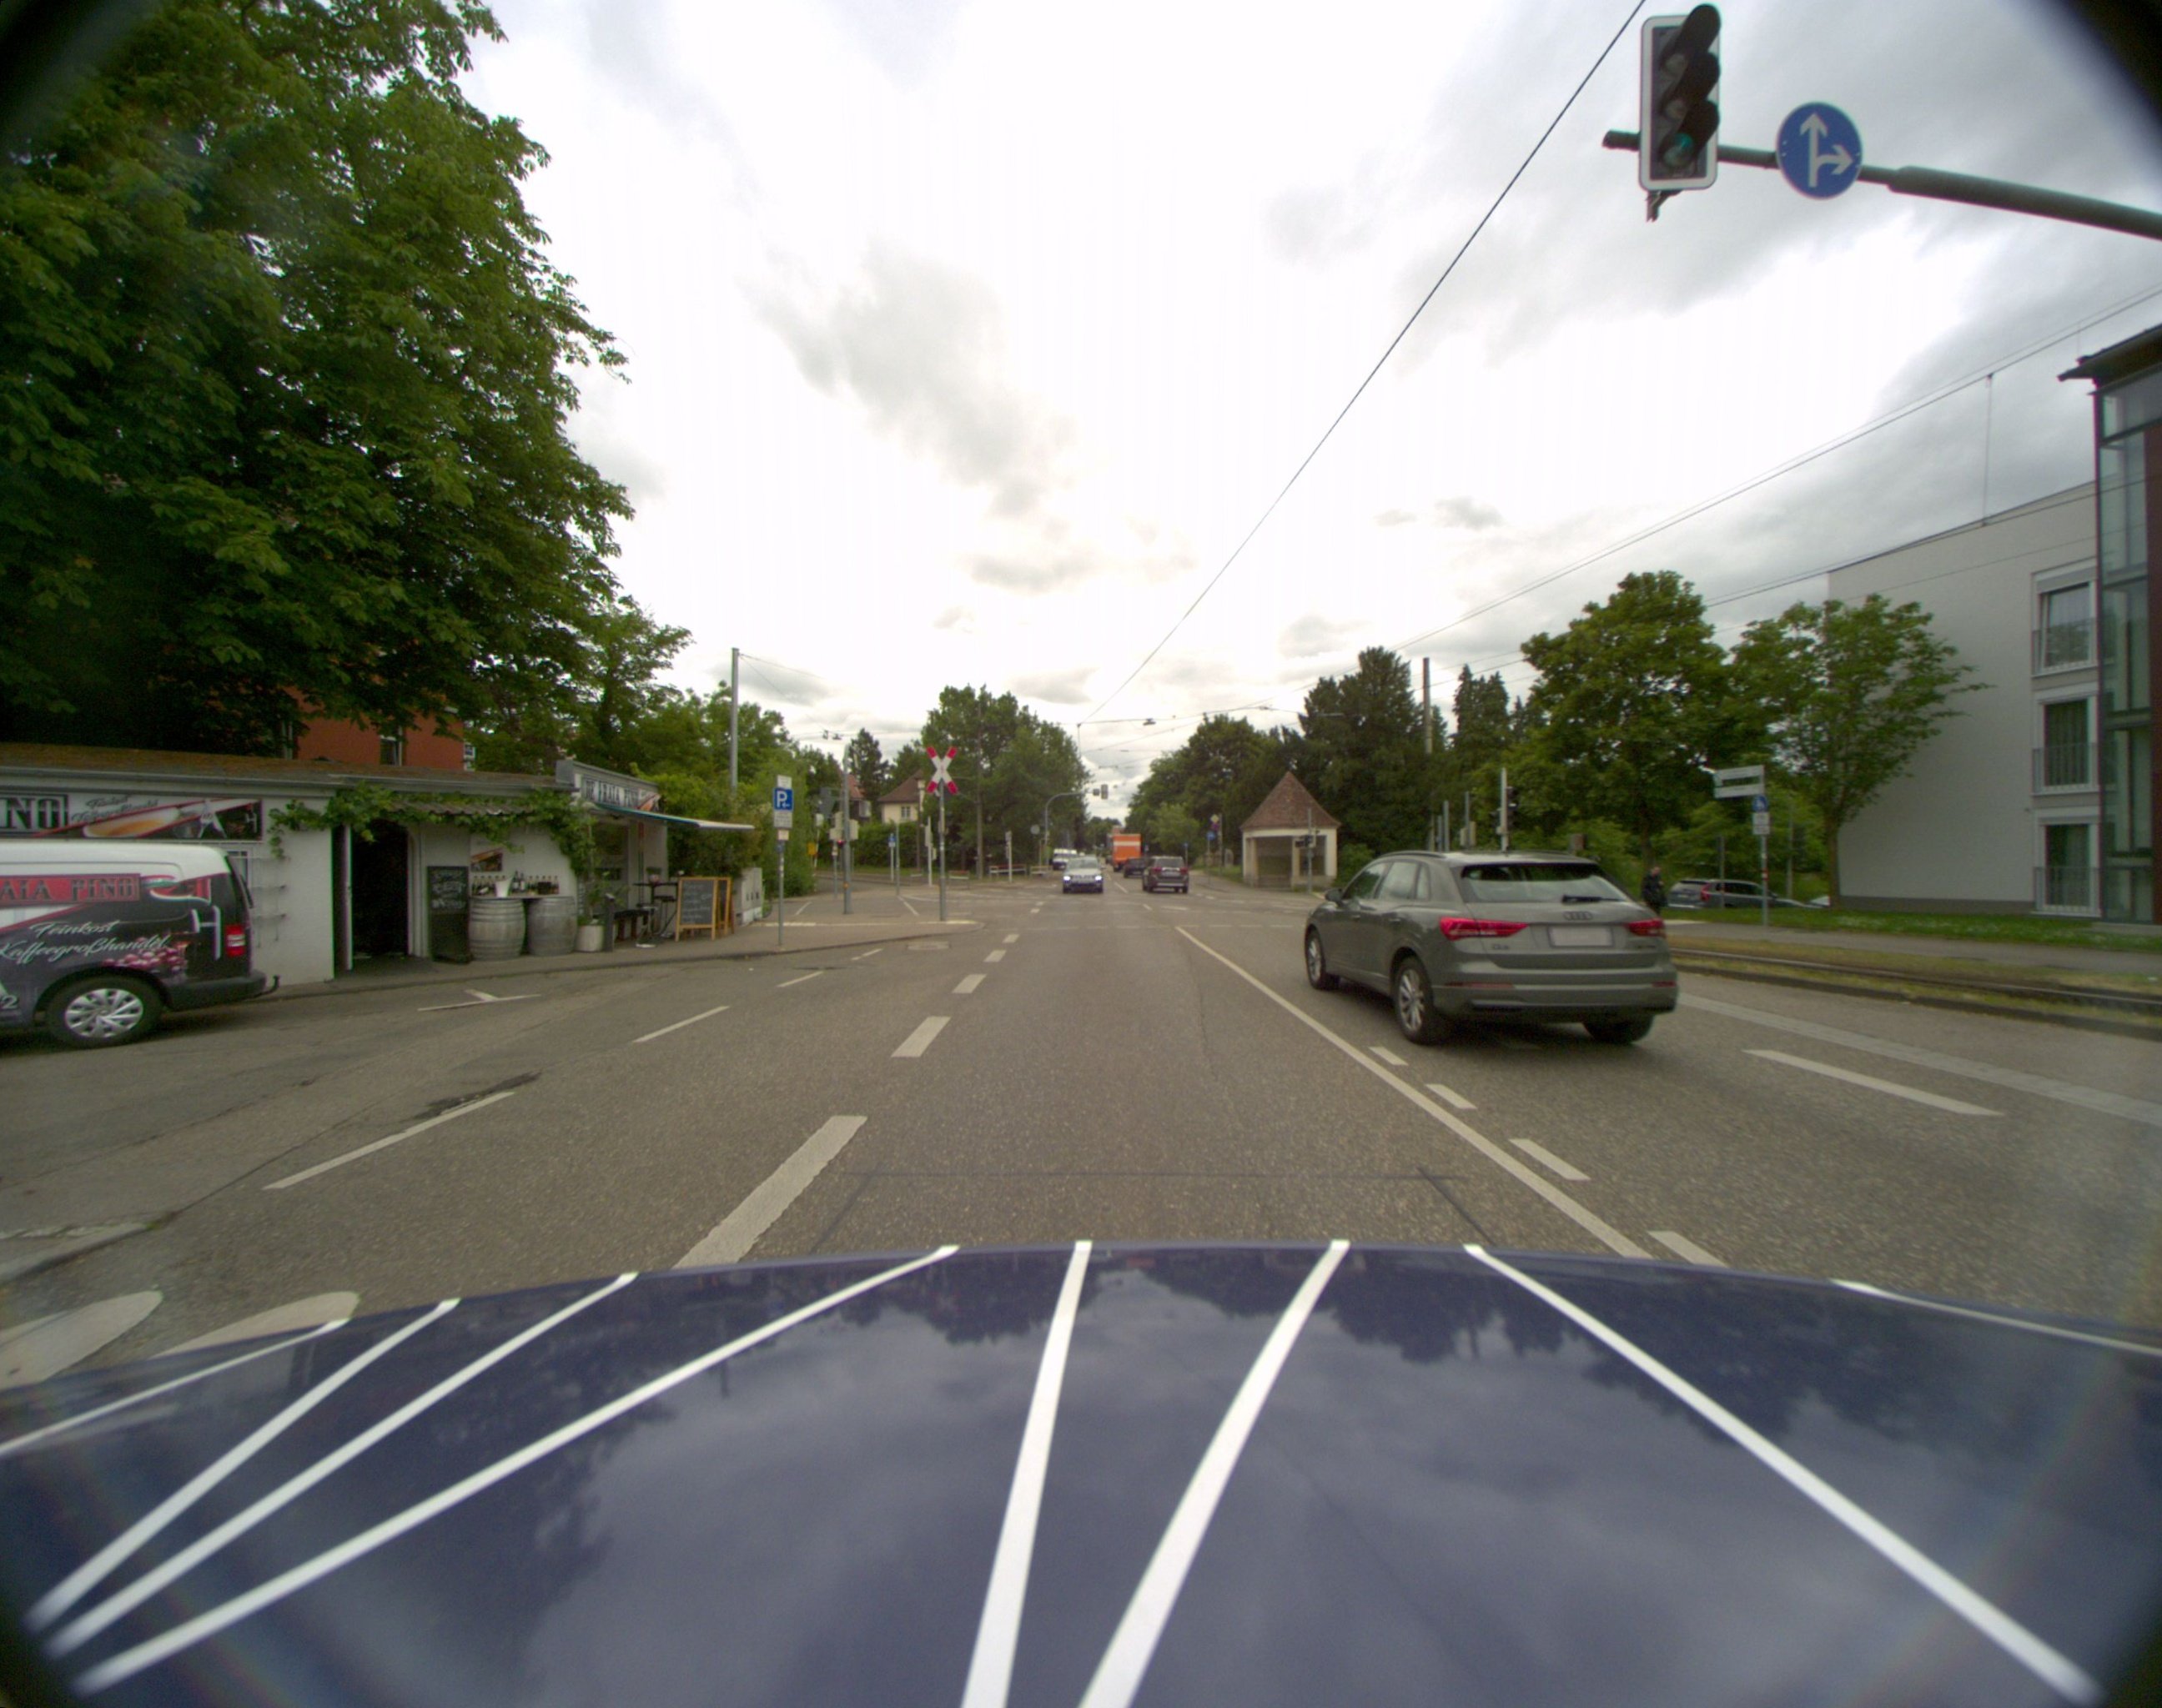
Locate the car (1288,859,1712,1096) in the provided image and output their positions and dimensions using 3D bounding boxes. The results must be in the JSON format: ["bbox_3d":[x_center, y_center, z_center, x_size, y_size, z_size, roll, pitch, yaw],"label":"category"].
[{"bbox_3d":[3.379,0.842,7.197,1.744,1.550,4.183,0,0,1],"label":"car"}]

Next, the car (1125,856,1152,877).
[{"bbox_3d":[4.299,0.923,57.235,1.679,1.497,3.733,1,0,0],"label":"car"}]

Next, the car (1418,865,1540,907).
[{"bbox_3d":[17.895,1.420,34.319,4.487,1.660,1.965,3,0,-6],"label":"car"}]

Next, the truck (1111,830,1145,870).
[{"bbox_3d":[4.601,-0.427,76.315,2.776,3.697,8.468,2,0,0],"label":"truck"}]

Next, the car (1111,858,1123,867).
[{"bbox_3d":[5.760,1.341,122.076,1.668,1.440,3.827,-1,0,1],"label":"car"}]

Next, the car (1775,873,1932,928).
[{"bbox_3d":[31.014,1.842,30.573,4.468,2.002,1.999,2,0,-5],"label":"car"}]

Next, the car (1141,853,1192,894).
[{"bbox_3d":[3.896,0.844,35.345,1.835,1.660,4.488,-4,0,1],"label":"car"}]

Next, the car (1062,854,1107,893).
[{"bbox_3d":[0.104,0.863,35.585,1.835,1.610,4.487,-3,1,-2],"label":"car"}]

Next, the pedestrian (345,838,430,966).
[{"bbox_3d":[-10.310,0.697,11.308,0.685,1.846,0.625,0,-2,17],"label":"pedestrian"}]

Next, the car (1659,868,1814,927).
[{"bbox_3d":[25.738,1.675,29.914,4.468,2.002,1.999,3,0,-5],"label":"car"}]

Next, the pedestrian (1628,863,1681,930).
[{"bbox_3d":[14.260,1.054,18.907,0.677,1.634,0.819,1,-2,-4],"label":"pedestrian"}]

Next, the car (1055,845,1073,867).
[{"bbox_3d":[-2.046,0.203,93.254,2.095,2.589,6.680,0,0,-1],"label":"car"}]

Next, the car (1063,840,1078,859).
[{"bbox_3d":[-1.480,-0.649,110.165,2.046,2.588,5.966,0,0,1],"label":"car"}]

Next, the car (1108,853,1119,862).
[{"bbox_3d":[6.080,0.631,142.950,1.944,1.522,4.526,1,0,1],"label":"car"}]

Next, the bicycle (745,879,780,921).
[{"bbox_3d":[-9.179,1.334,21.945,0.550,1.131,1.877,-1,-3,-11],"label":"bicycle"}]

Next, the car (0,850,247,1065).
[{"bbox_3d":[-10.102,0.849,5.943,1.846,1.738,4.705,-1,0,39],"label":"car"}]
